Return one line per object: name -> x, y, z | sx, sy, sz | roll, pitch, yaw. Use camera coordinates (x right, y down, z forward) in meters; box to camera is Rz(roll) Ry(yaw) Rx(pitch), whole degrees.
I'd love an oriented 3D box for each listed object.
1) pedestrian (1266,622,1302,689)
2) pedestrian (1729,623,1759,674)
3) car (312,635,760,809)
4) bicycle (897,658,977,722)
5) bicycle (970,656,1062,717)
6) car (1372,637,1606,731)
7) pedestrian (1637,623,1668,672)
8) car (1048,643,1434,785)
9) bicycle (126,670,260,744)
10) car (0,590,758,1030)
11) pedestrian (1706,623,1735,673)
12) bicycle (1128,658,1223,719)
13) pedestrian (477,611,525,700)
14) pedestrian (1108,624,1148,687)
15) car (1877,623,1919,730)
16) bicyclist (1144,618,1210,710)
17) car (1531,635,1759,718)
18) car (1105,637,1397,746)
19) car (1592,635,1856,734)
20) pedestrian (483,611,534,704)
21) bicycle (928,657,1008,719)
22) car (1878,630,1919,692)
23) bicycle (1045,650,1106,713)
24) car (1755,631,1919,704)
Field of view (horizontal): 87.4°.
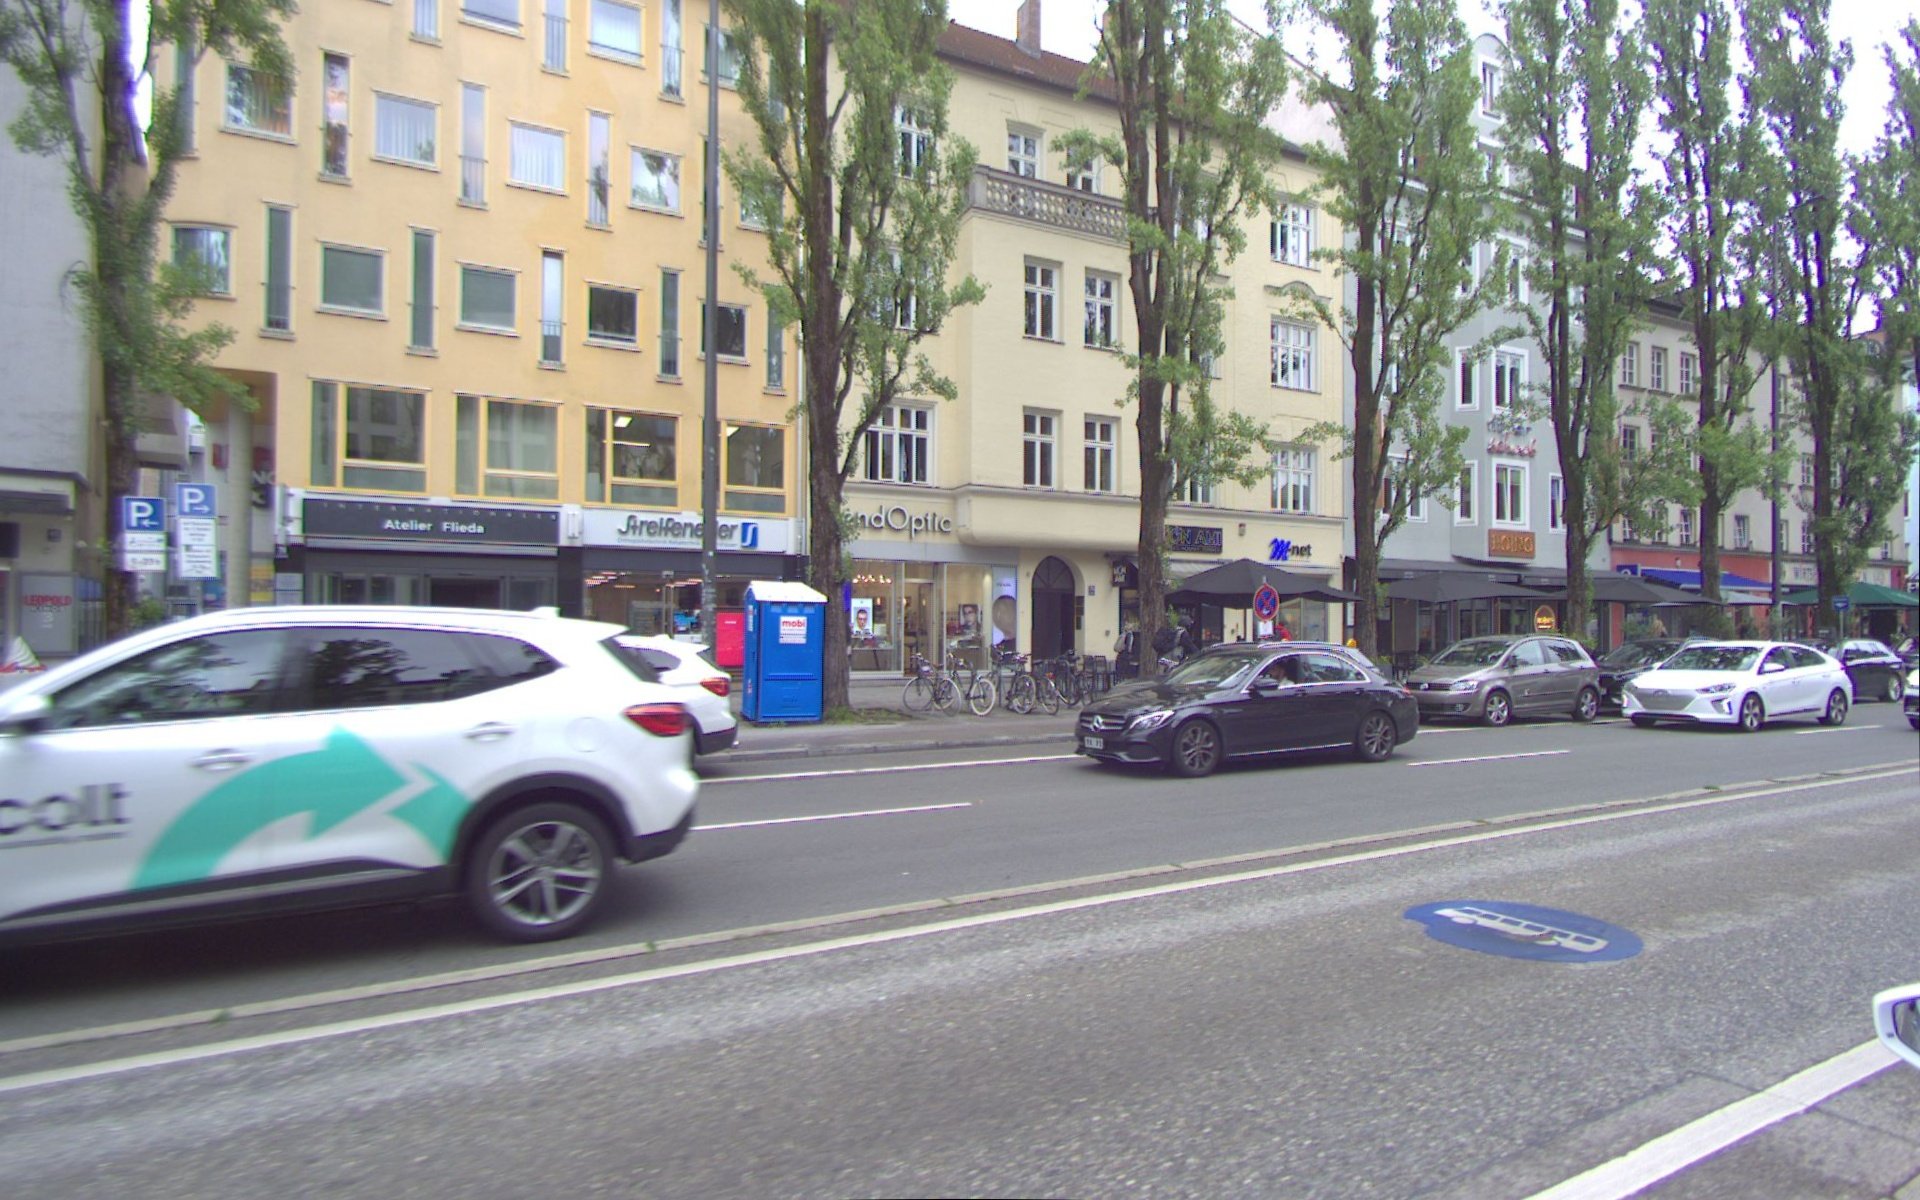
pedestrian -> 8.712, 1.478, 27.004 | 0.745, 1.770, 0.537 | 1, -1, -27
pedestrian -> 29.233, 1.815, 37.436 | 0.639, 1.886, 0.636 | 1, -2, -27
car -> -4.640, 1.236, 11.435 | 4.322, 1.651, 1.988 | 1, -2, -25
bicycle -> -0.430, 1.582, 17.969 | 0.617, 1.055, 1.626 | 1, -2, -36
bicycle -> 1.019, 1.602, 18.925 | 0.617, 1.055, 1.994 | 1, -2, -36
car -> 9.641, 1.462, 18.296 | 3.947, 1.539, 1.799 | 1, -2, -26
pedestrian -> 24.587, 1.675, 35.659 | 0.639, 1.722, 0.636 | 1, -2, -27
car -> 3.504, 1.281, 12.445 | 4.479, 1.453, 1.933 | 1, -2, -26
bicycle -> -10.894, 1.508, 14.308 | 1.459, 0.988, 0.291 | 1, -2, -27
car -> -3.487, 0.877, 5.195 | 4.478, 1.733, 1.854 | 1, -3, -28
pedestrian -> 28.774, 1.810, 38.014 | 0.639, 1.886, 0.636 | 1, -2, -27
bicycle -> 3.836, 1.553, 17.862 | 1.745, 1.020, 0.507 | 1, -2, -28
pedestrian -> -8.790, 1.041, 19.219 | 0.754, 1.647, 0.836 | 2, 0, -28
pedestrian -> 4.312, 1.417, 25.864 | 0.805, 1.582, 0.632 | 1, -1, -25
car -> 17.186, 1.215, 16.342 | 4.407, 1.663, 1.932 | 1, -2, -28
bicyclist -> 3.871, 1.121, 17.919 | 1.093, 1.601, 0.494 | 1, -2, -28
car -> 13.978, 1.493, 20.487 | 4.262, 1.502, 1.988 | 1, -2, -26
car -> 4.594, 1.343, 15.826 | 4.238, 1.513, 1.934 | 1, -2, -26
car -> 13.214, 1.377, 17.350 | 4.400, 1.513, 1.932 | 1, -2, -28
pedestrian -> -8.301, 1.044, 18.448 | 0.754, 1.647, 0.836 | 2, 0, -28
bicycle -> 0.129, 1.583, 18.373 | 0.617, 1.055, 1.626 | 1, -2, -36
car -> 26.733, 1.597, 26.770 | 4.274, 1.585, 1.843 | 0, -2, -25
bicycle -> 2.204, 1.545, 19.474 | 0.496, 1.115, 2.127 | 0, -2, -13
car -> 21.708, 1.568, 24.289 | 4.826, 1.617, 1.988 | 1, -2, -26
